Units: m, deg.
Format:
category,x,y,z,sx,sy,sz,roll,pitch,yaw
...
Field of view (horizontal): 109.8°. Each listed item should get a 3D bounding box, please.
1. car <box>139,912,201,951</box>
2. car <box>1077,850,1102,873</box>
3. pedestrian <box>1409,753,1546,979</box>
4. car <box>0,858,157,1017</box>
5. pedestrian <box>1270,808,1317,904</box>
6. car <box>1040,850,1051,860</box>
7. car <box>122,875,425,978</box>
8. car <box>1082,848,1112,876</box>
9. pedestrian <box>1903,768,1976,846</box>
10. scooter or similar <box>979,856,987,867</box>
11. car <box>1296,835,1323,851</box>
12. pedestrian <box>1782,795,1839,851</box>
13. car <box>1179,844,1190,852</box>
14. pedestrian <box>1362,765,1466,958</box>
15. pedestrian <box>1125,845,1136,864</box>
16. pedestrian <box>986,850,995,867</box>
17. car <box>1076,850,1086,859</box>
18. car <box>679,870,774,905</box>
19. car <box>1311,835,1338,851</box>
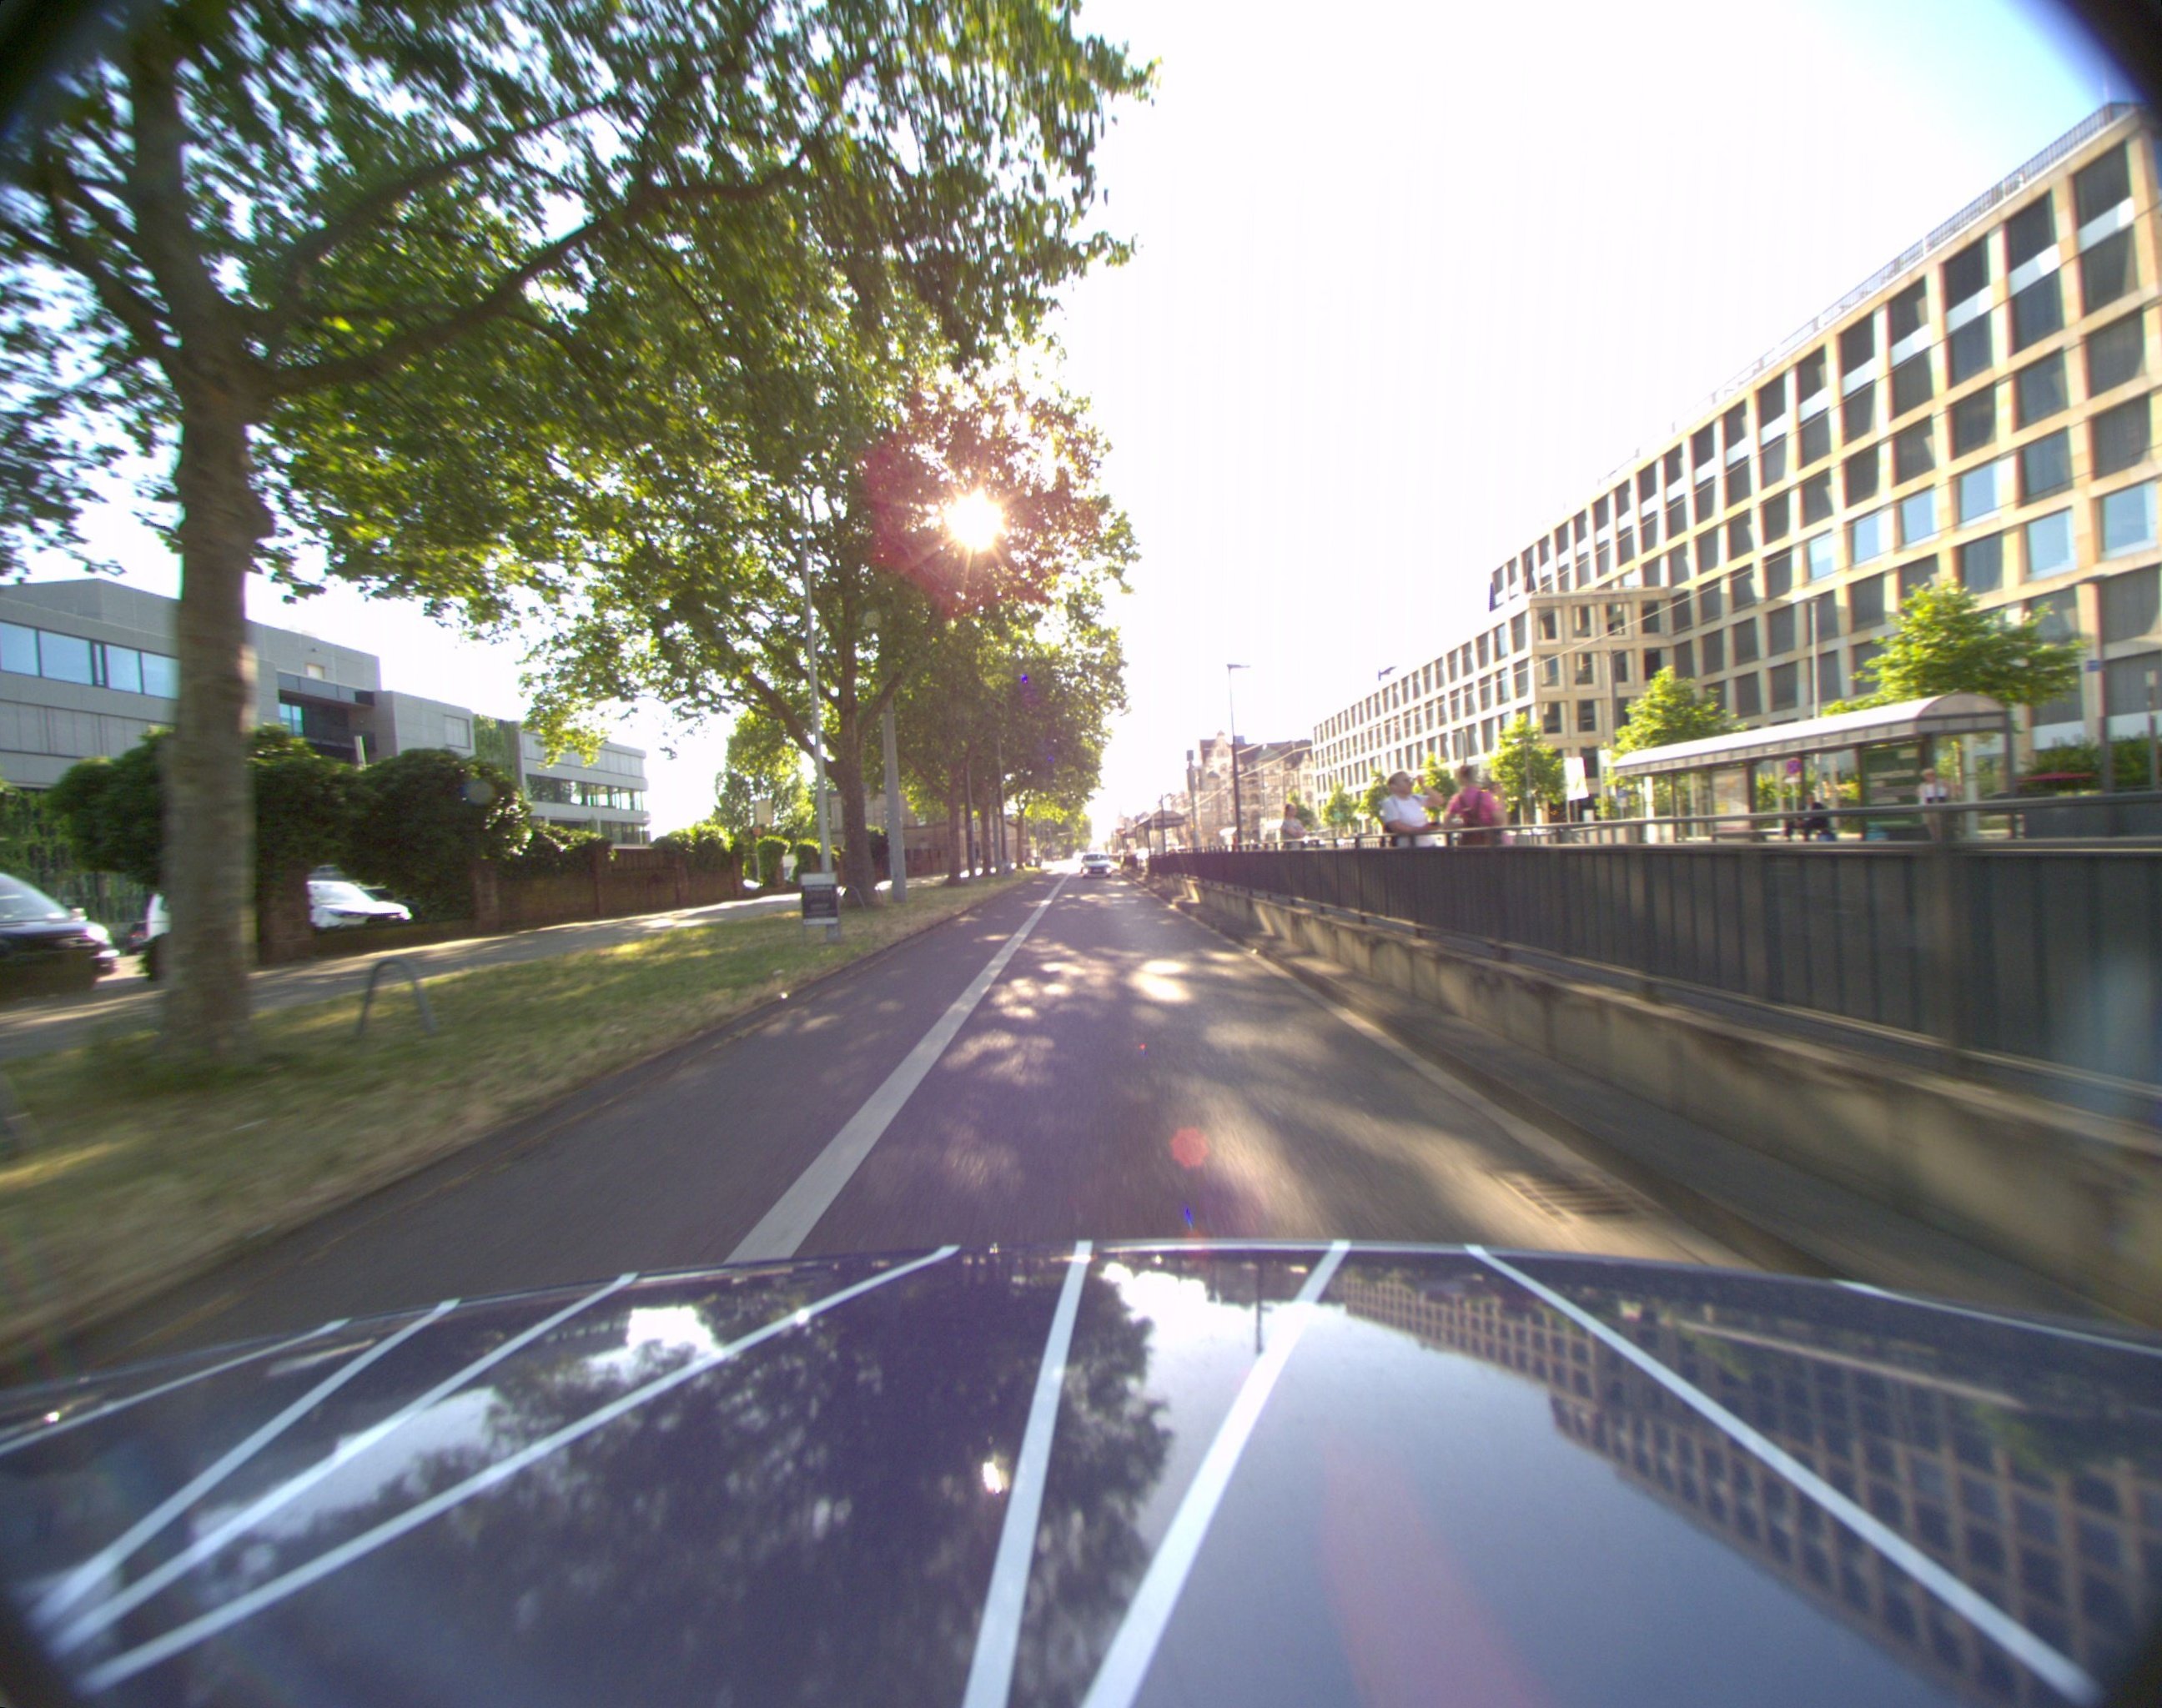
category,x,y,z,sx,sy,sz,roll,pitch,yaw
car,-41.526,3.501,34.644,3.656,1.512,1.653,-3,1,39
car,0.669,0.516,57.524,1.649,1.555,3.666,-5,1,2
pedestrian,3.071,0.082,5.911,0.614,1.633,0.612,-4,1,-19
car,-19.748,1.514,12.898,5.474,2.476,2.000,-4,1,0
pedestrian,3.570,0.035,12.825,0.615,1.540,0.725,-4,1,11
car,-8.077,0.185,173.054,1.833,2.034,4.000,-4,1,4
car,-19.918,1.742,18.929,5.276,1.970,2.000,-4,1,0
car,0.930,0.446,45.331,1.649,1.555,3.665,-4,1,0
pedestrian,17.466,-0.941,15.473,0.615,1.519,0.725,-4,1,9
scooter or similar,-10.346,0.804,80.134,0.720,1.149,0.759,-2,1,-6
car,26.320,-1.250,87.587,1.923,1.759,4.000,-4,0,1
pedestrian,17.420,-0.730,18.160,0.616,1.253,0.724,-4,1,5
car,23.333,-1.321,171.063,1.780,1.660,3.999,-4,0,-1
pedestrian,3.043,0.068,6.987,0.613,1.659,0.613,-4,1,3
pedestrian,3.940,0.032,60.210,0.747,1.500,0.666,-3,1,3
pedestrian,-9.571,0.453,80.376,0.771,1.734,0.796,-2,1,-6
car,-0.039,0.156,152.972,1.833,1.645,3.999,-4,1,1
car,-18.922,1.781,40.713,4.117,1.512,2.040,-4,1,-8
car,26.128,-1.127,81.621,1.649,1.553,3.650,-4,0,1
